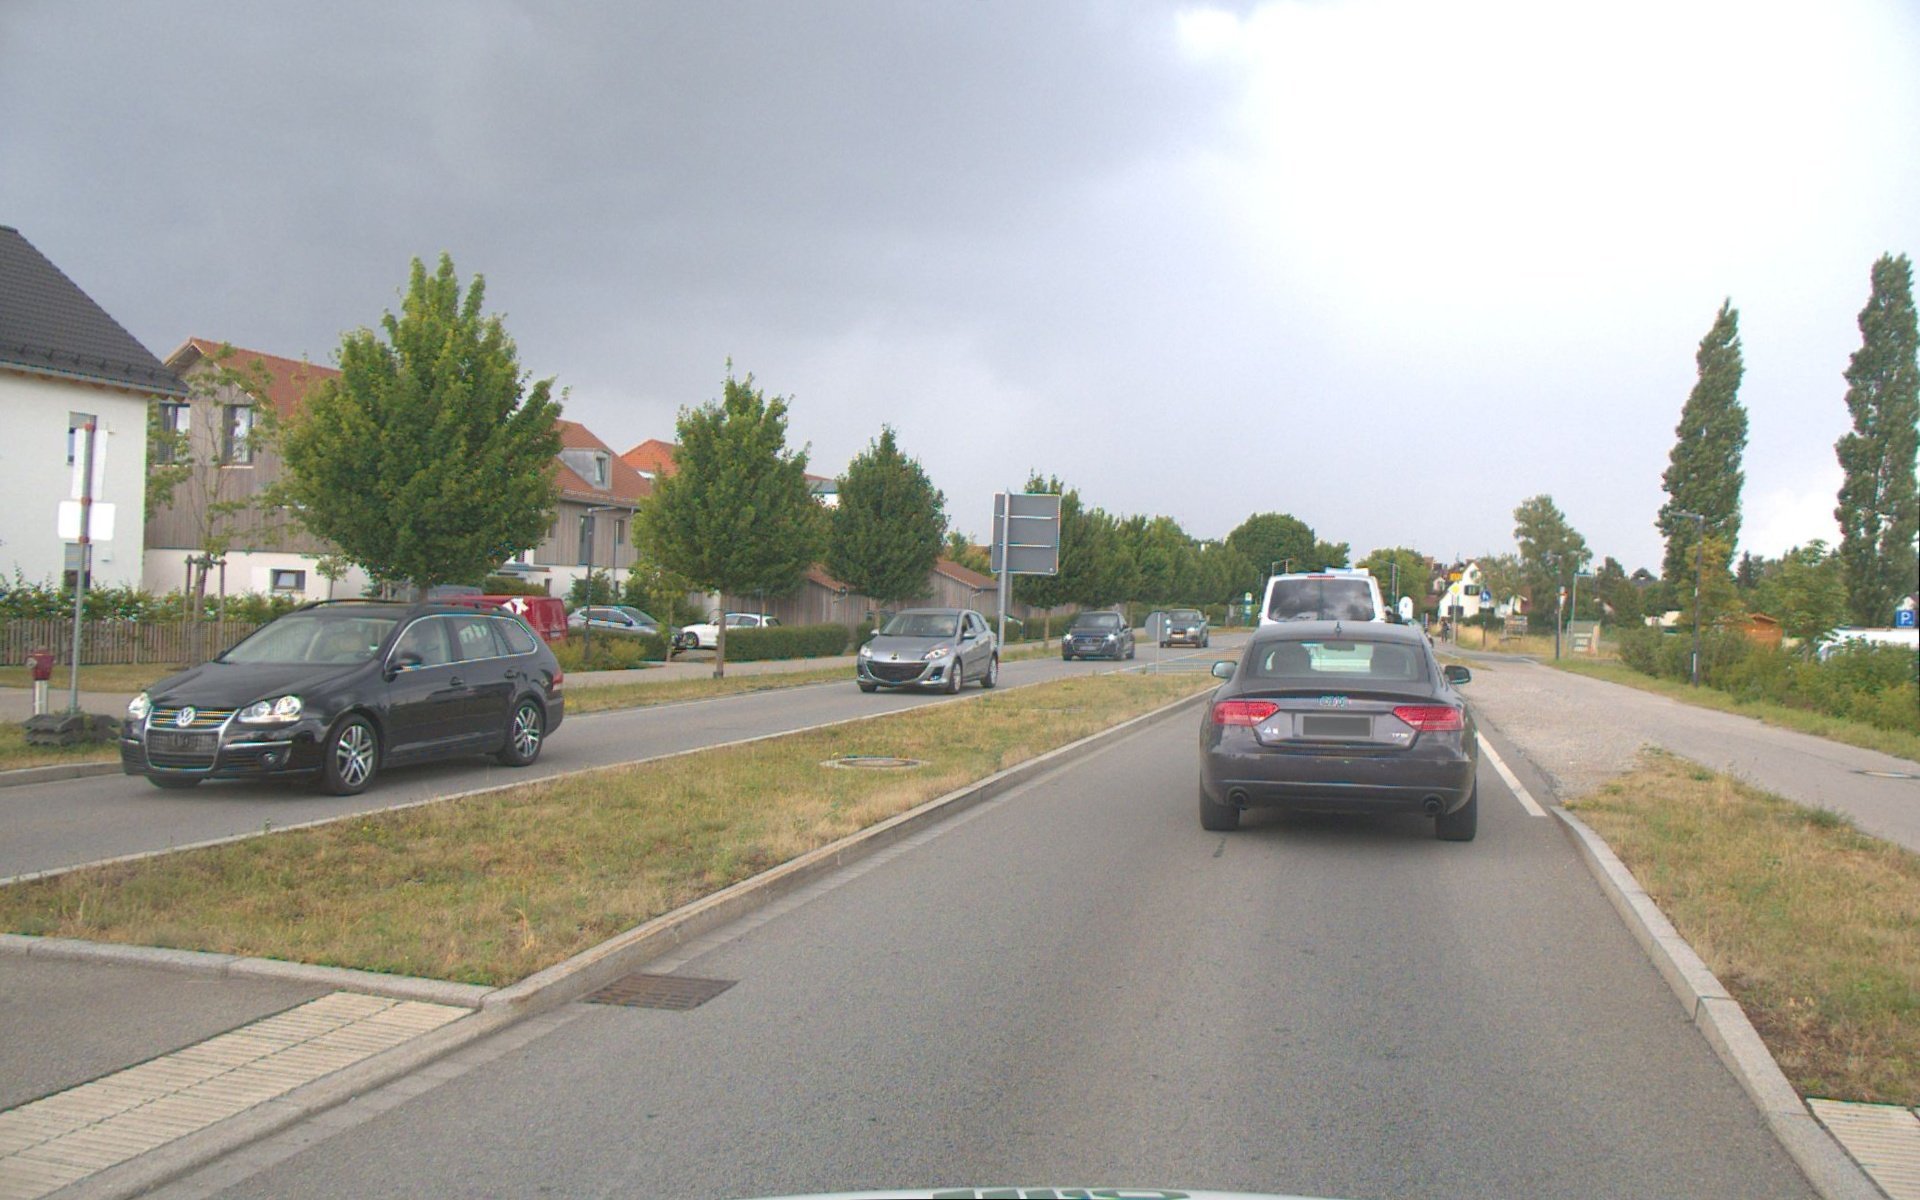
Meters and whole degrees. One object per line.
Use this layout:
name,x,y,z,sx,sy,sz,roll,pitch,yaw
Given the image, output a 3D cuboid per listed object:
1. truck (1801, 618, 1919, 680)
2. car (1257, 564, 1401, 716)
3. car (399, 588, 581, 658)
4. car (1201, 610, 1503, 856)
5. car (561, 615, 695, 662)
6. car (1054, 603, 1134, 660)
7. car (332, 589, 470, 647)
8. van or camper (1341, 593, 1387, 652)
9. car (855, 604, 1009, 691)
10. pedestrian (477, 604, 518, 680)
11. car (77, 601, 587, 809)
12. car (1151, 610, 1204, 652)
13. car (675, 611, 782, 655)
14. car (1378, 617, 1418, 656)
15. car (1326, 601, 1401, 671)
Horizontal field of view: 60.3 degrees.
truck,30.807,1.650,54.913,4.694,1.905,2.002,3,0,10
car,5.354,0.548,24.091,1.827,1.968,4.003,2,0,12
car,-13.019,0.627,45.833,4.435,1.709,2.001,2,0,18
car,2.785,0.813,11.999,1.746,1.416,4.136,1,0,12
car,-10.825,1.235,54.070,3.831,1.338,1.844,2,0,12
car,4.063,0.925,49.661,1.827,1.601,4.003,1,-1,13
car,-18.454,0.610,54.805,1.952,1.803,4.466,2,-1,19
van or camper,24.730,1.422,101.372,2.569,3.382,6.826,2,-1,14
car,-0.422,0.821,29.794,1.693,1.434,4.208,0,-1,14
pedestrian,-9.909,0.886,35.445,0.569,1.586,0.660,2,0,13
car,-4.968,0.759,13.872,1.716,1.441,4.458,0,-1,15
car,9.089,1.277,68.893,1.827,1.601,4.003,2,0,13
car,-8.865,1.236,63.447,3.650,1.508,1.688,2,0,11
car,17.022,1.417,64.299,1.408,1.396,3.514,2,0,15
car,10.422,0.900,42.561,1.739,1.646,4.003,2,0,15
